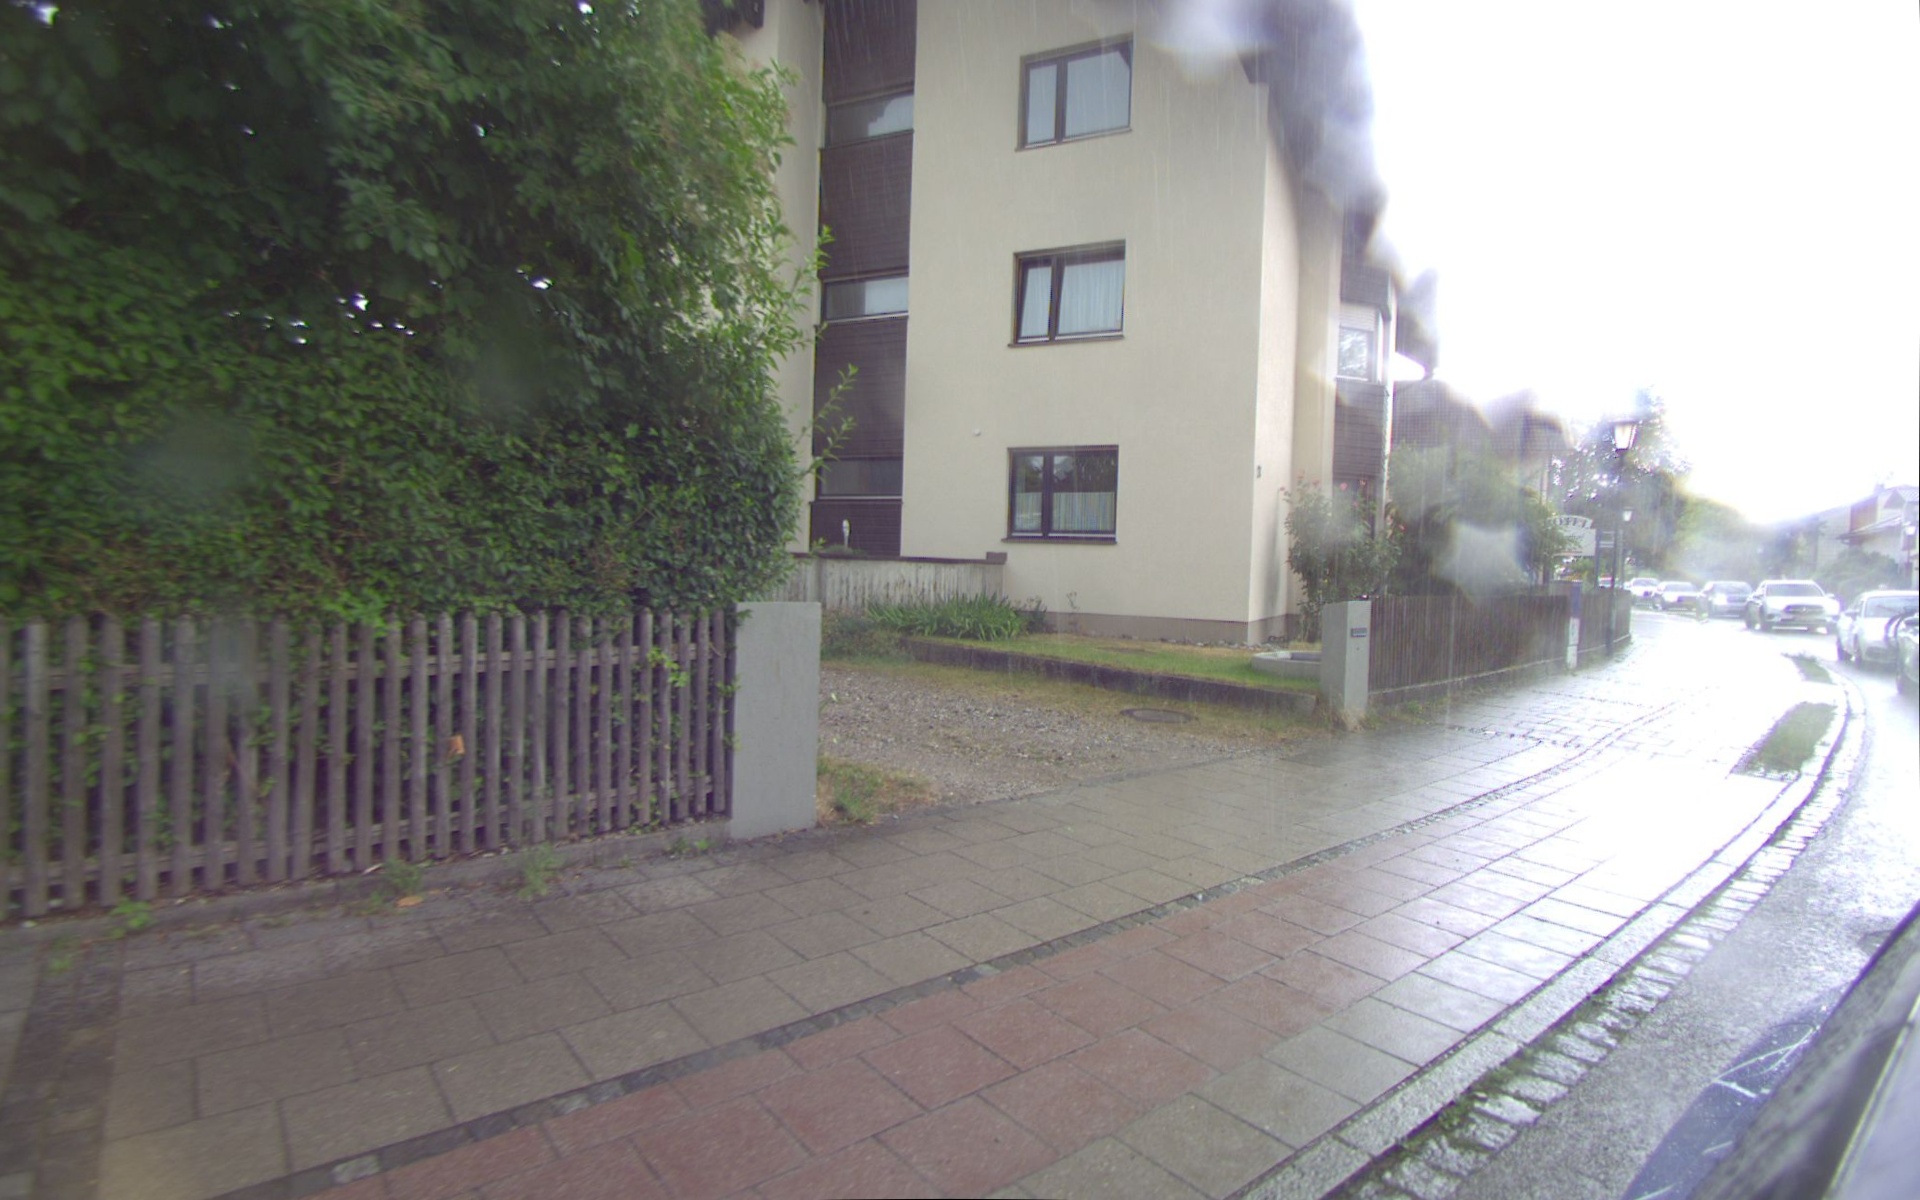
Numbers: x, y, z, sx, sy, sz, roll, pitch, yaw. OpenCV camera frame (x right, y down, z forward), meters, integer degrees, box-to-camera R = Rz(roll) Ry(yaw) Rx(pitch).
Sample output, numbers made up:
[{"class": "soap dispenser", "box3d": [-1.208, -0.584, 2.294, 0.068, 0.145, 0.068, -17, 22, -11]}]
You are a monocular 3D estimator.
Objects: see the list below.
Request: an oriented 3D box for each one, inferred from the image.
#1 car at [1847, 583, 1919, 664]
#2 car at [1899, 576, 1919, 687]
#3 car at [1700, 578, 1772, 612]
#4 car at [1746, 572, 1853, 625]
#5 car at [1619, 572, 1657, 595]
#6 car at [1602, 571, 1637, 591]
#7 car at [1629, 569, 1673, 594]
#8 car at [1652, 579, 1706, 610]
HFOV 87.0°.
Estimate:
[{"class": "car", "box3d": [18.157, 0.393, 19.224, 1.786, 1.412, 4.220, 0, 1, 39]}, {"class": "car", "box3d": [13.925, 0.425, 13.425, 1.786, 1.498, 5.309, 0, 1, 39]}, {"class": "car", "box3d": [33.710, -0.237, 44.080, 1.778, 1.391, 4.239, 0, 1, 28]}, {"class": "car", "box3d": [26.767, -0.061, 32.410, 1.778, 1.568, 4.239, 0, 0, 28]}, {"class": "car", "box3d": [48.704, -1.168, 72.752, 1.778, 1.568, 4.239, 0, 0, 28]}, {"class": "car", "box3d": [53.572, -1.532, 82.277, 1.776, 1.568, 4.246, 0, 0, 24]}, {"class": "car", "box3d": [43.687, -1.158, 64.046, 1.778, 1.568, 4.241, 0, 0, 27]}, {"class": "car", "box3d": [37.917, -0.283, 53.436, 1.778, 1.568, 4.239, 0, 0, 28]}]
